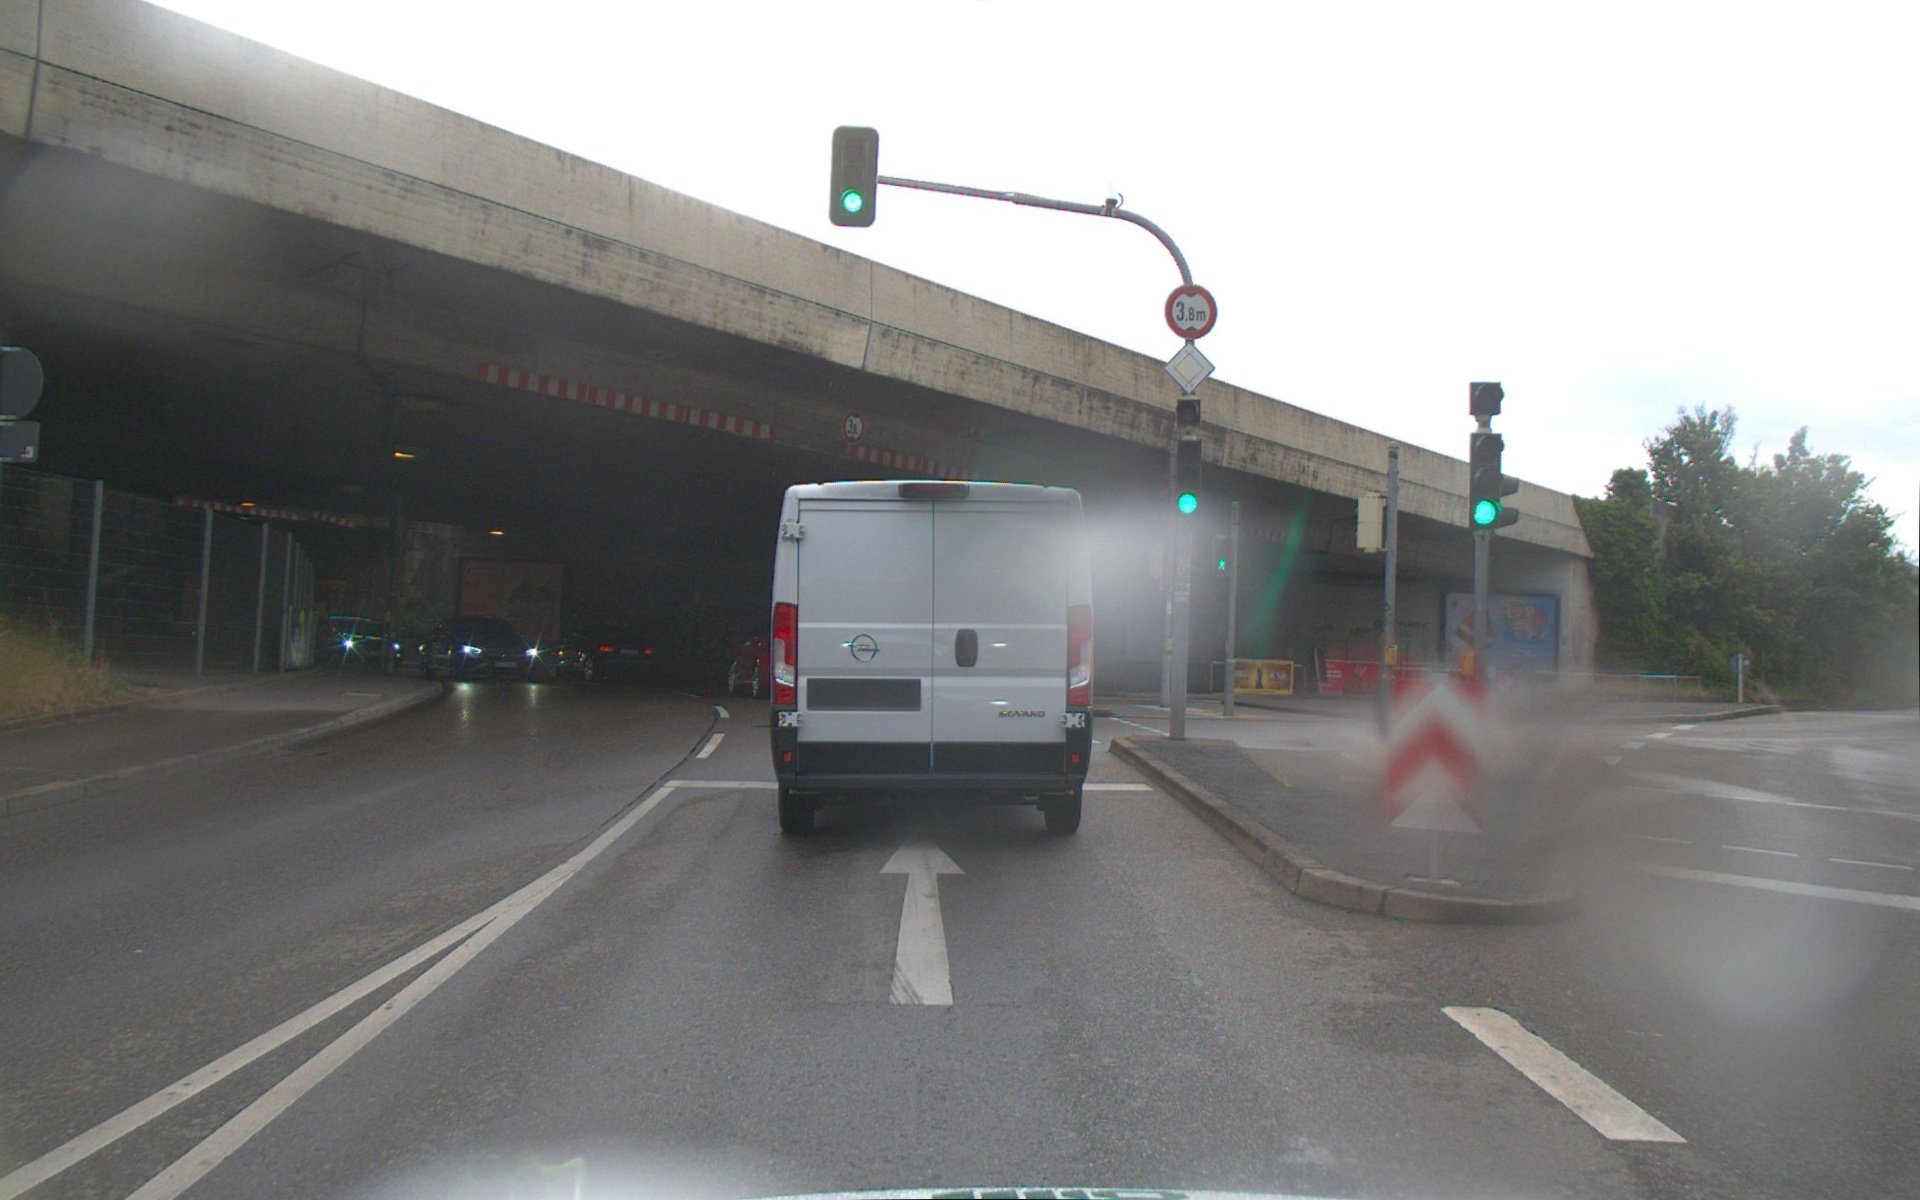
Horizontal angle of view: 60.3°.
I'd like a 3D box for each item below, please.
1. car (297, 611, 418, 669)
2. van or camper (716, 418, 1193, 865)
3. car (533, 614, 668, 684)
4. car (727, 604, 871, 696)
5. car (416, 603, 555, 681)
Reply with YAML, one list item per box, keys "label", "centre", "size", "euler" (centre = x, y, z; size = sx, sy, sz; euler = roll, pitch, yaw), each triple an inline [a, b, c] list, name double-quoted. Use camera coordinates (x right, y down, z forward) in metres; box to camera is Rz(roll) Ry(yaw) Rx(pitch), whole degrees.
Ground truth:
- label: "car"
  centre: [-16.739, 1.115, 45.839]
  size: [1.980, 1.490, 4.049]
  euler: [3, -3, -38]
- label: "van or camper"
  centre: [-0.068, 0.252, 11.909]
  size: [2.644, 2.459, 4.902]
  euler: [2, 0, -1]
- label: "car"
  centre: [-9.322, 1.239, 42.613]
  size: [1.975, 1.556, 4.269]
  euler: [3, 0, -33]
- label: "car"
  centre: [-2.913, 0.879, 29.118]
  size: [1.806, 1.464, 4.085]
  euler: [2, -2, -16]
- label: "car"
  centre: [-10.984, 0.931, 38.064]
  size: [1.973, 1.556, 4.453]
  euler: [3, 0, -31]
